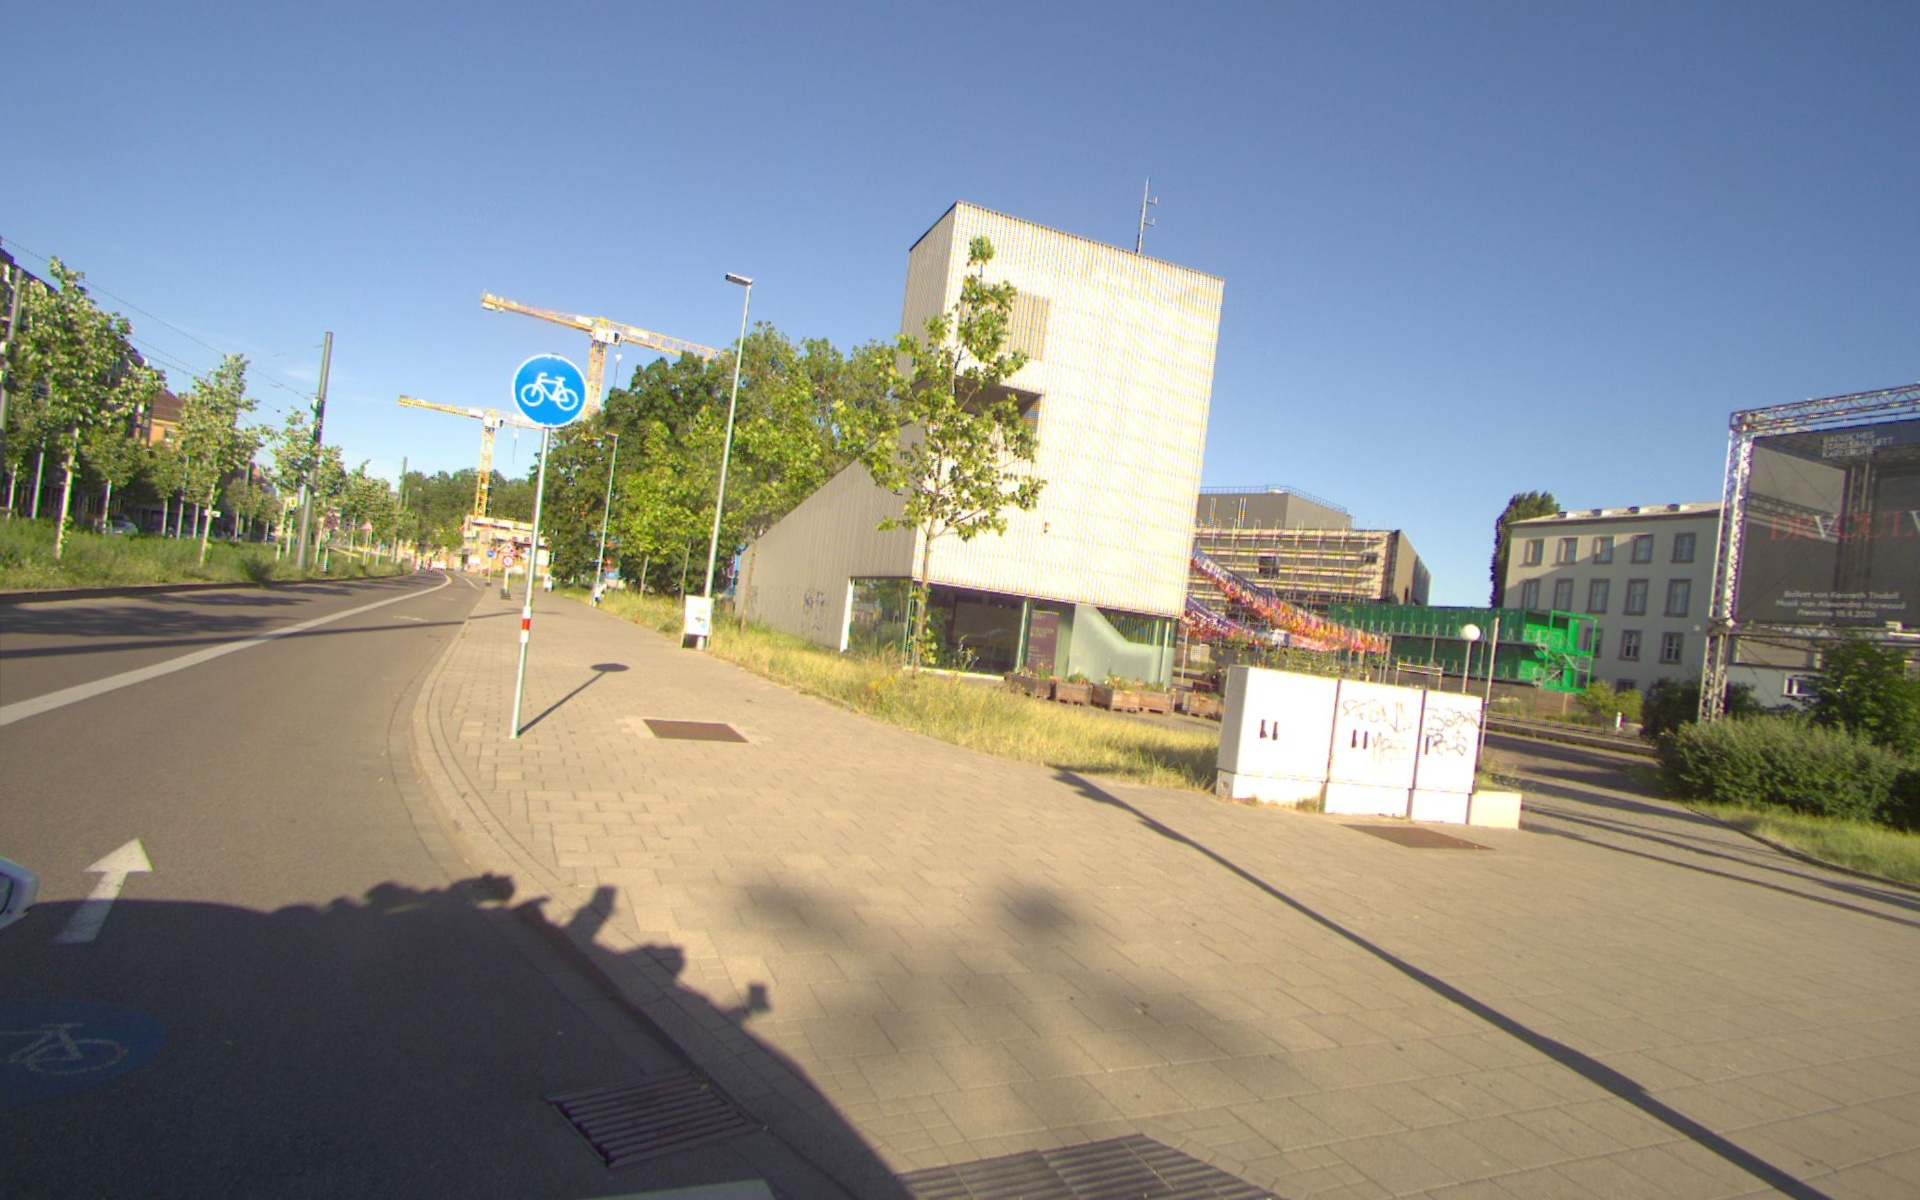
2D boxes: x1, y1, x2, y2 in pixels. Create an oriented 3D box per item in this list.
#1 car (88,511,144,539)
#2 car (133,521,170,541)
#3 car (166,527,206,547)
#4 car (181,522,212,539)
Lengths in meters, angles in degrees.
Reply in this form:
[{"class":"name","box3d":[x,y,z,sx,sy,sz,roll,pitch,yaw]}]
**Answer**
[{"class":"car","box3d":[-62.258,-5.496,74.299,1.823,1.613,4.667,8,-2,-24]},{"class":"car","box3d":[-80.137,-6.794,99.767,1.887,1.594,4.273,7,-1,-26]},{"class":"car","box3d":[-71.707,-5.825,93.260,1.741,1.534,4.557,6,-1,-24]},{"class":"car","box3d":[-86.865,-7.866,114.457,1.887,1.594,4.273,7,-1,-26]}]
